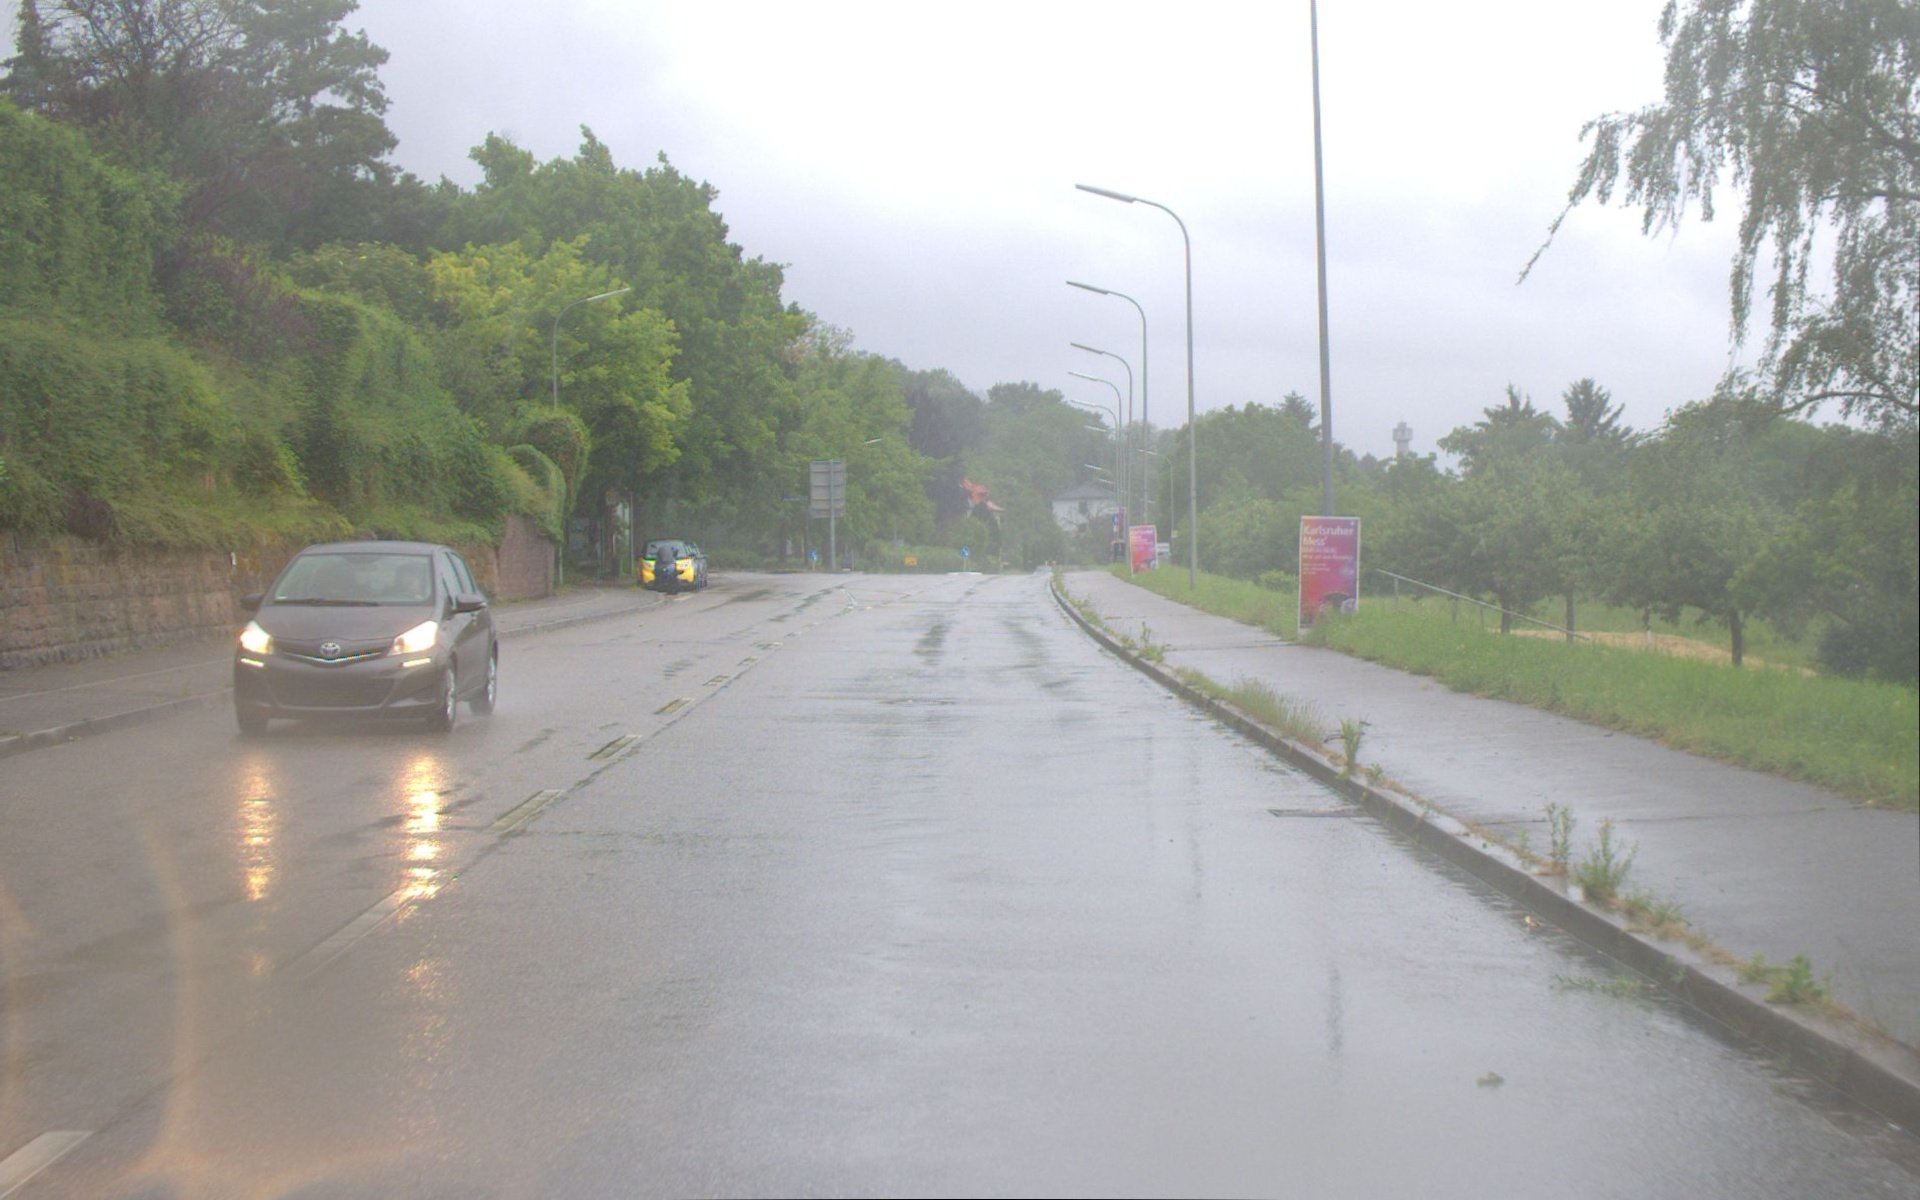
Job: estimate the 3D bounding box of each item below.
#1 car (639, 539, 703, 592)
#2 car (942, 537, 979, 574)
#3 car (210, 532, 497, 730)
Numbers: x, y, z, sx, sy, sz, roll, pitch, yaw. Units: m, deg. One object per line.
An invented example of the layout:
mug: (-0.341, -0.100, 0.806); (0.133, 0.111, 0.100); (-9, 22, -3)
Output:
car: (-8.444, -1.014, 100.542); (1.727, 1.491, 3.988); (-1, 1, -3)
car: (0.014, -2.469, 190.883); (1.993, 2.007, 4.000); (0, 1, -1)
car: (-4.900, 0.204, 28.271); (1.759, 1.491, 4.128); (-1, 1, -2)
